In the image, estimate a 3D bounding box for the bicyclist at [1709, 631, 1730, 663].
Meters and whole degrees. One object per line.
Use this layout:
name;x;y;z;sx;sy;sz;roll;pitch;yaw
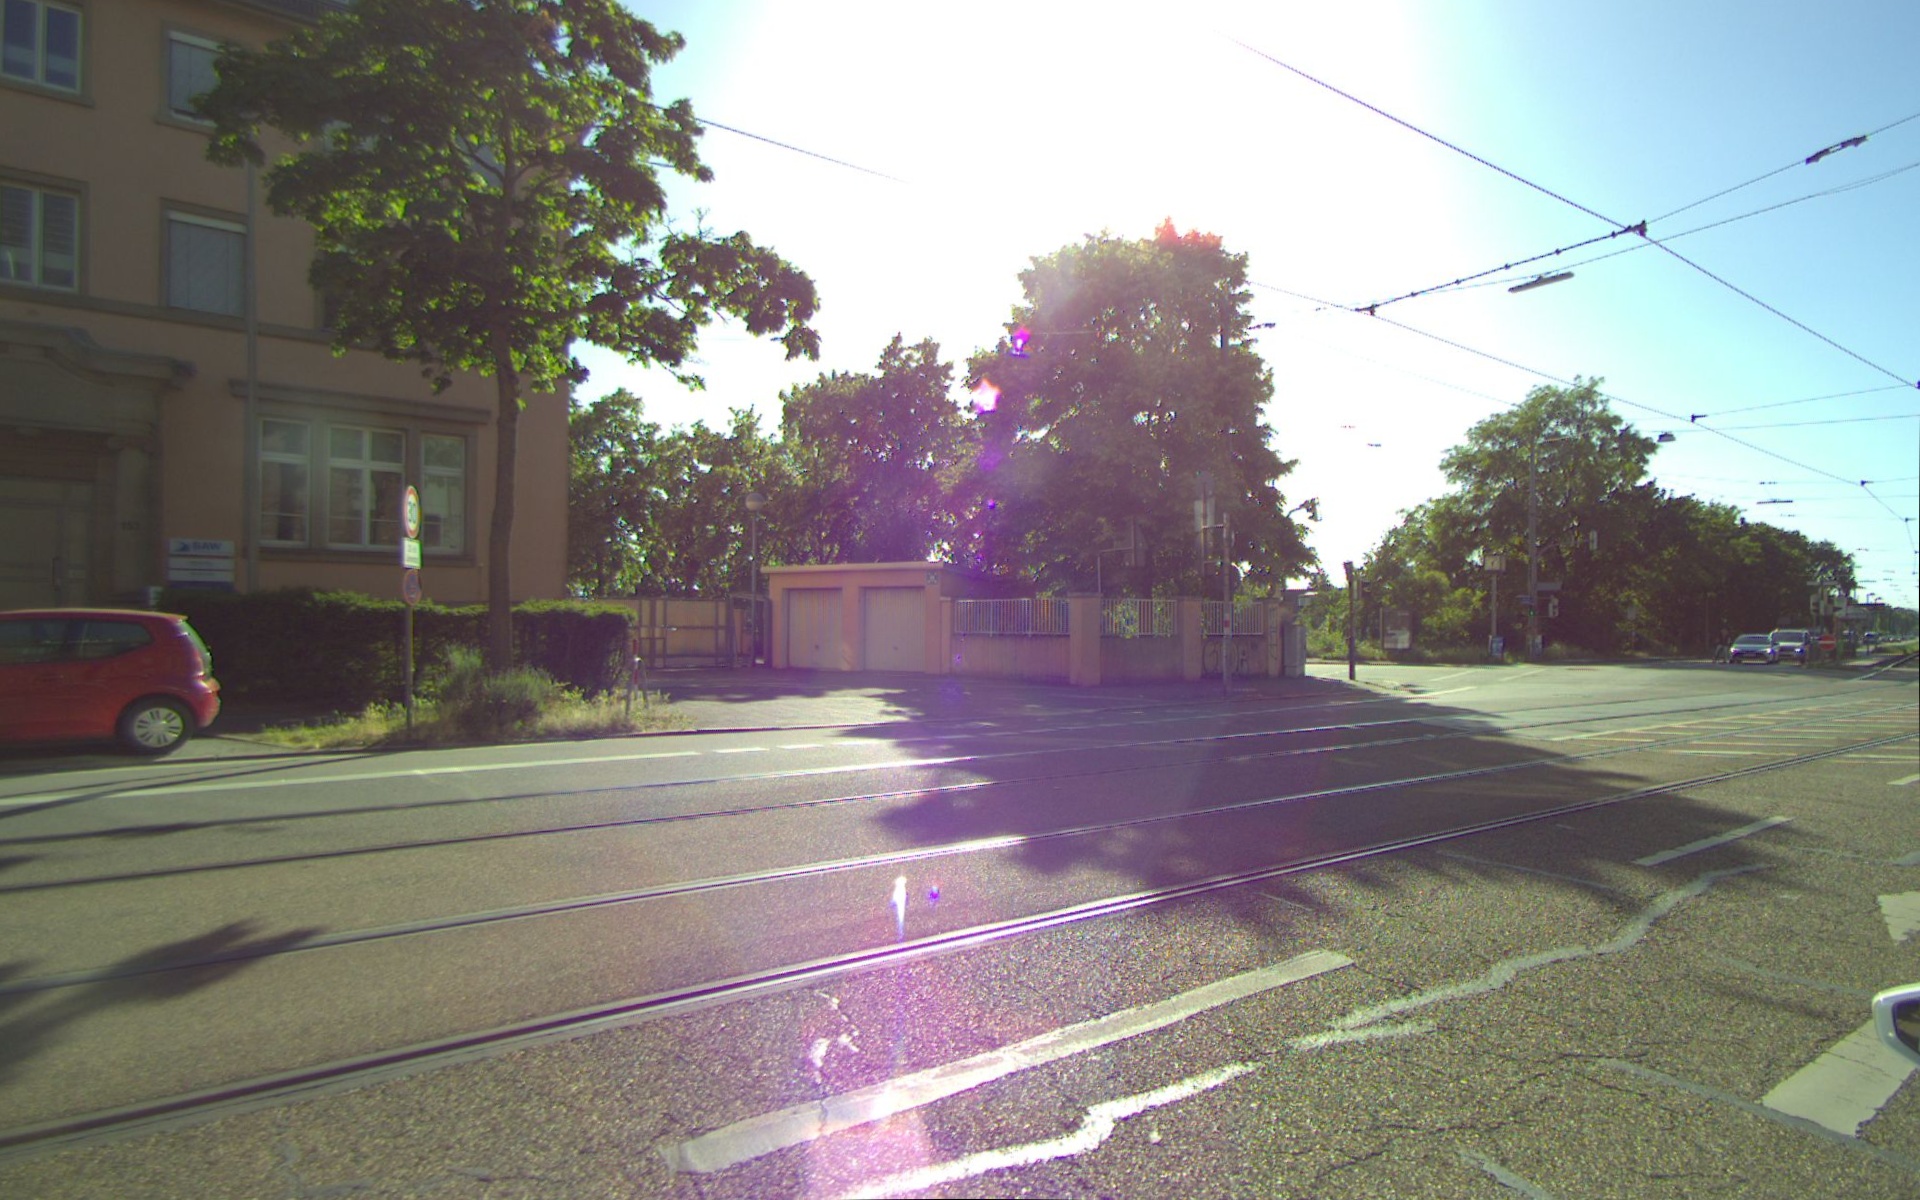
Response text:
bicyclist;36.823;2.279;48.697;0.740;1.524;0.960;0;-1;40

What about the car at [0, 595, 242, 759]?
car;-9.549;0.734;10.185;3.583;1.508;1.568;2;1;-40

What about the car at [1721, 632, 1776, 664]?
car;39.792;2.408;50.644;1.971;1.524;3.980;0;-2;41

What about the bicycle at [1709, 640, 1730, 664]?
bicycle;36.801;2.497;48.668;0.740;1.101;2.167;0;-2;39

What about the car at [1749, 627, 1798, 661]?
car;44.542;2.391;54.959;1.971;1.784;3.980;0;-2;41
